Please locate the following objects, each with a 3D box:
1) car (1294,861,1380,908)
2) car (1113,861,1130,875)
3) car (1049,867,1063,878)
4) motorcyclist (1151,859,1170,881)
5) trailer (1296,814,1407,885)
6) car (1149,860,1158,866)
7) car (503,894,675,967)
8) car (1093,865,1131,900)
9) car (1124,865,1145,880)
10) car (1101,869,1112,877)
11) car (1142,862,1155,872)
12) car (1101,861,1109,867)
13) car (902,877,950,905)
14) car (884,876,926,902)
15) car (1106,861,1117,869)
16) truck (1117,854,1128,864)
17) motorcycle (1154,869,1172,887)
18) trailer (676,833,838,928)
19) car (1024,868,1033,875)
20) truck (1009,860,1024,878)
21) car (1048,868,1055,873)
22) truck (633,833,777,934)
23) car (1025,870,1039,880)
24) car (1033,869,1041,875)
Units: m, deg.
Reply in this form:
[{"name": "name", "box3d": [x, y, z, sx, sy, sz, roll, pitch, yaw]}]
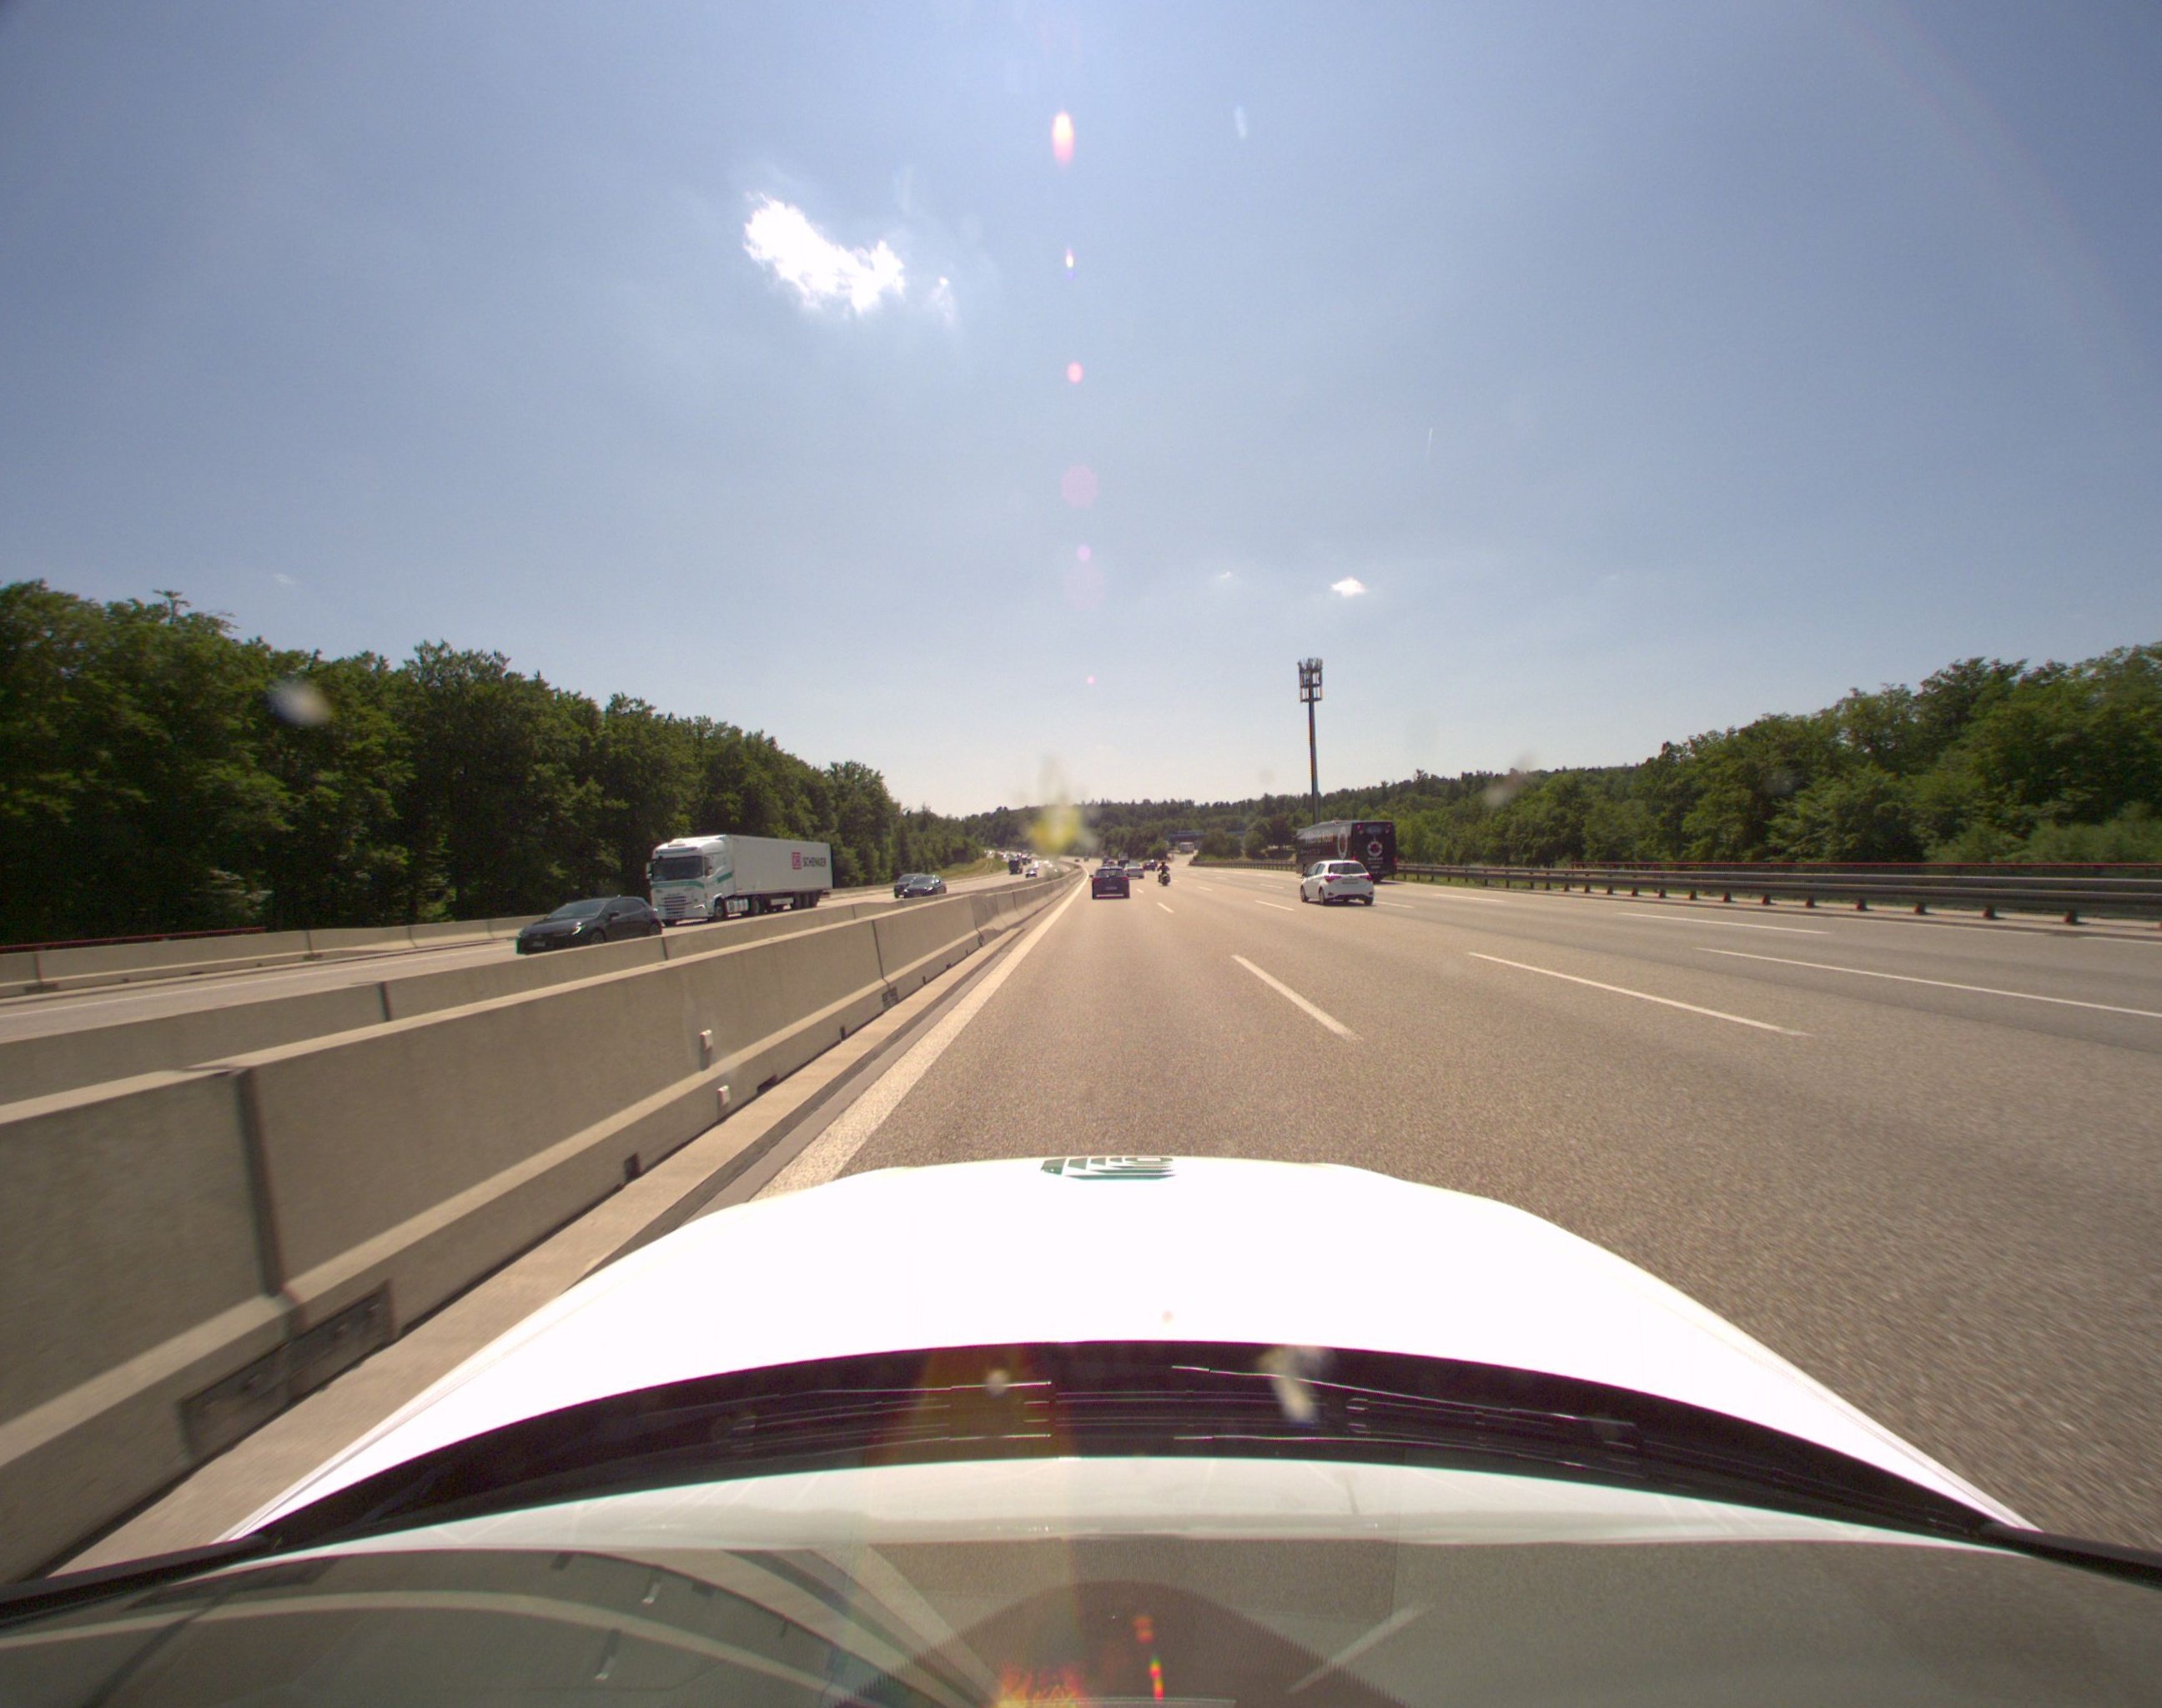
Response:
[{"name": "car", "box3d": [8.749, 0.995, 28.207, 1.660, 1.433, 4.376, -2, -1, 1]}, {"name": "car", "box3d": [5.693, 1.965, 115.421, 2.092, 1.851, 4.078, -2, -1, -2]}, {"name": "car", "box3d": [-4.066, 2.946, 132.270, 1.825, 1.568, 4.787, -4, -1, 1]}, {"name": "motorcyclist", "box3d": [5.262, 1.052, 54.037, 0.960, 1.437, 1.234, -4, 0, -3]}, {"name": "trailer", "box3d": [16.336, -0.124, 50.645, 2.846, 3.688, 13.551, -3, -1, 3]}, {"name": "car", "box3d": [14.242, 1.800, 160.006, 1.603, 1.212, 3.459, -3, -1, 0]}, {"name": "car", "box3d": [-13.012, 1.952, 21.933, 1.791, 1.481, 4.398, -4, -1, 1]}, {"name": "car", "box3d": [1.422, 1.295, 37.324, 1.618, 1.487, 3.686, -2, -2, 2]}, {"name": "car", "box3d": [4.956, 1.729, 75.301, 1.776, 1.265, 3.461, -3, -1, 1]}, {"name": "car", "box3d": [4.187, 3.102, 135.348, 1.532, 1.212, 3.457, -3, -1, -2]}, {"name": "car", "box3d": [9.897, 1.928, 119.503, 1.669, 1.432, 3.685, -1, -1, 1]}, {"name": "car", "box3d": [7.575, 3.120, 256.642, 1.989, 2.013, 4.670, -1, 0, -3]}, {"name": "car", "box3d": [-9.251, 2.180, 48.992, 1.791, 1.481, 4.721, -3, -1, 1]}, {"name": "car", "box3d": [-12.978, 2.543, 60.496, 1.791, 1.643, 5.080, -4, -1, 1]}, {"name": "car", "box3d": [6.673, 2.355, 176.522, 1.989, 1.684, 4.419, -1, 0, -3]}, {"name": "truck", "box3d": [12.272, 1.495, 243.557, 2.720, 2.786, 5.677, -1, 0, -3]}, {"name": "motorcycle", "box3d": [5.437, 1.566, 54.045, 0.974, 1.129, 2.271, -3, -1, 1]}, {"name": "trailer", "box3d": [-17.278, 1.335, 45.233, 2.633, 4.224, 14.364, -4, -1, 1]}, {"name": "car", "box3d": [-11.907, 3.958, 184.649, 1.825, 1.301, 4.729, -3, -1, 0]}, {"name": "truck", "box3d": [-15.060, 3.516, 190.752, 2.649, 4.025, 5.510, -4, -1, 0]}, {"name": "car", "box3d": [-8.311, 4.636, 229.193, 1.825, 1.562, 4.776, -1, -1, 0]}, {"name": "truck", "box3d": [-17.474, 1.293, 38.593, 2.705, 4.099, 7.878, -4, -1, 1]}, {"name": "car", "box3d": [-7.958, 3.462, 132.659, 1.761, 1.478, 4.482, -3, -1, 1]}, {"name": "car", "box3d": [-13.363, 5.448, 247.596, 1.867, 1.534, 4.135, -4, -1, 0]}]
